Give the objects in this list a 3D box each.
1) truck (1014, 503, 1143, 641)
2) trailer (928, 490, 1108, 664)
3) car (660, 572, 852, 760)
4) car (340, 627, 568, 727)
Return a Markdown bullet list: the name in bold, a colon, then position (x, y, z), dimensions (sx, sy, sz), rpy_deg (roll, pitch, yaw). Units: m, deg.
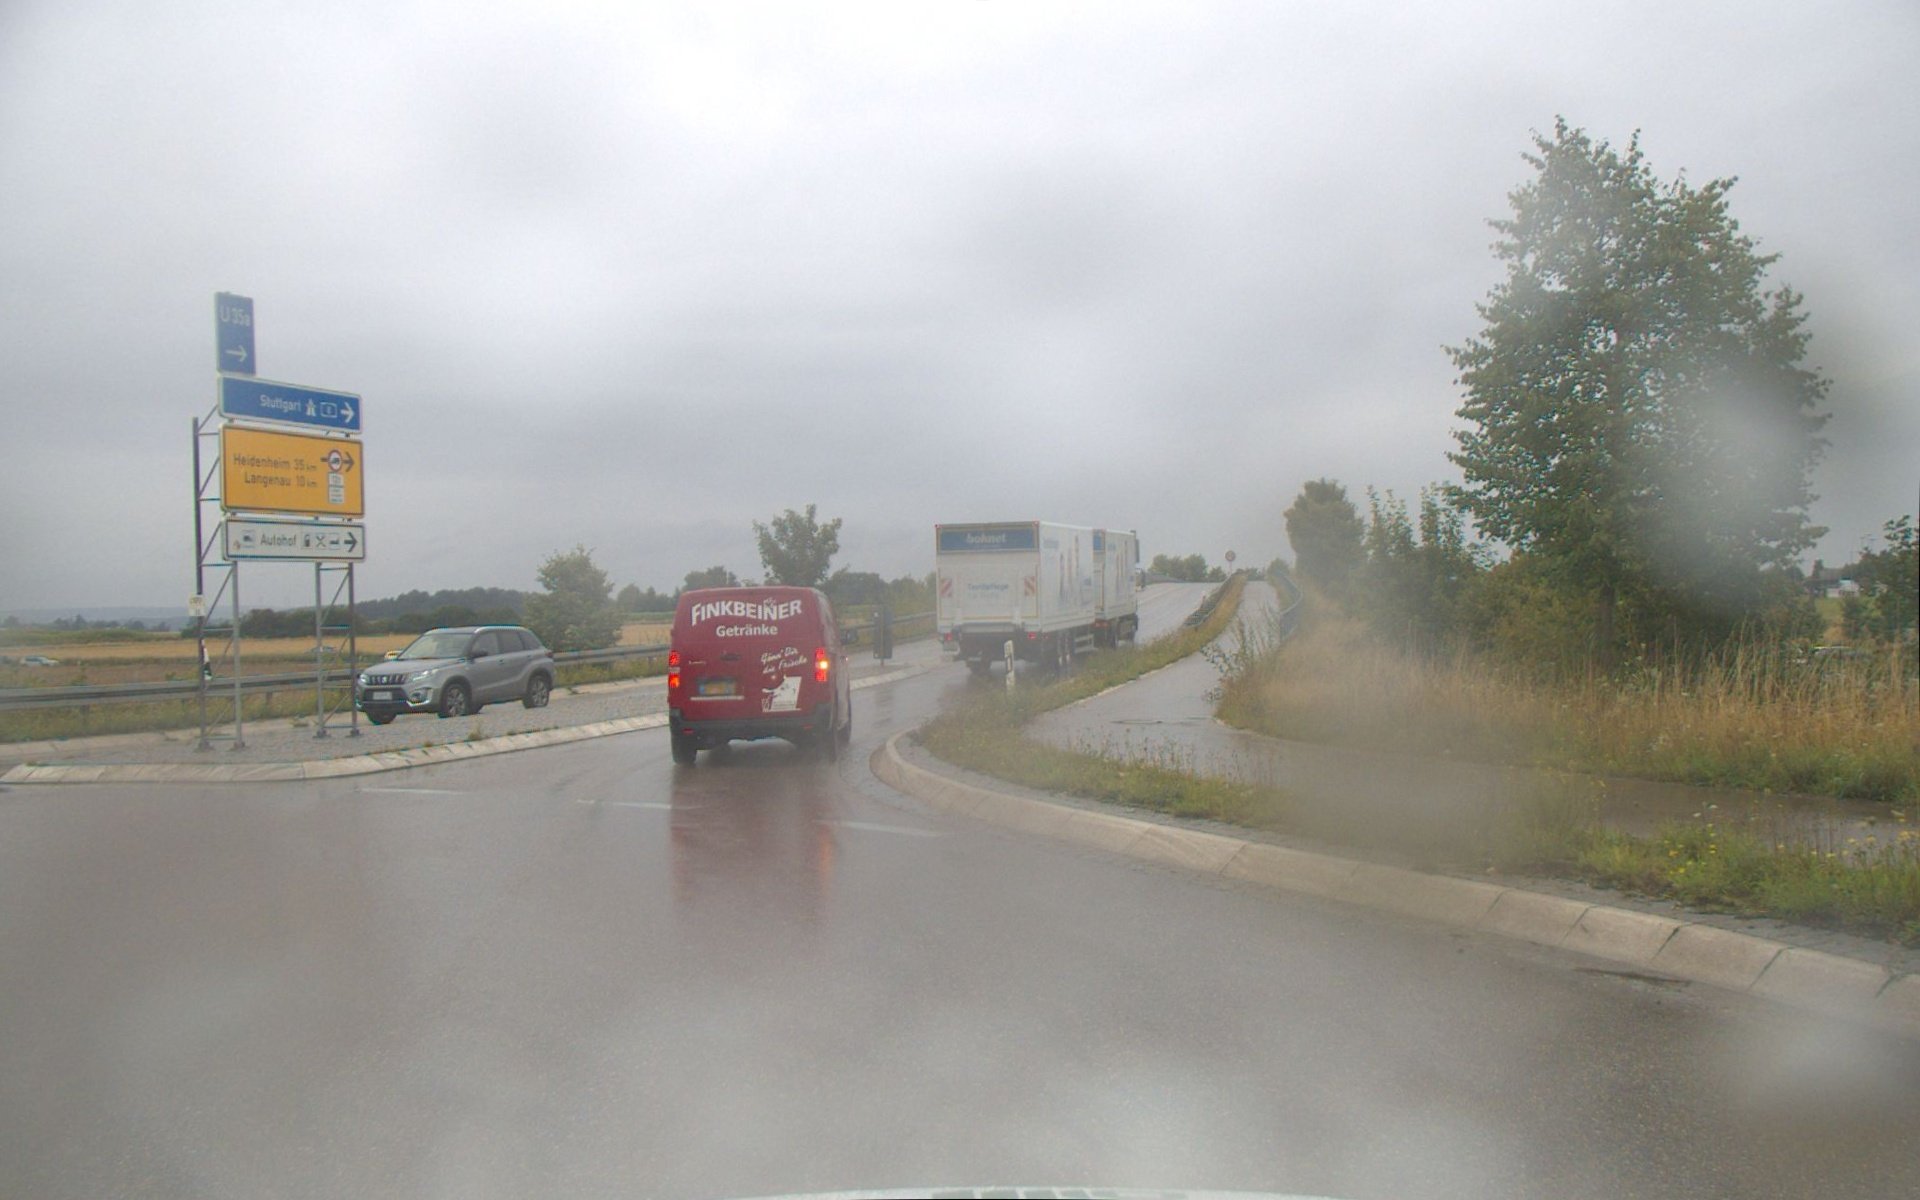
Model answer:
- **truck**: position (3.790, -0.851, 51.141), dimensions (2.740, 3.885, 7.696), rpy_deg (-2, 0, 13)
- **trailer**: position (1.738, -0.588, 42.715), dimensions (2.771, 3.885, 9.724), rpy_deg (-2, 0, 13)
- **car**: position (-2.453, 0.668, 20.057), dimensions (1.956, 1.903, 4.971), rpy_deg (-2, 1, -7)
- **car**: position (-9.053, 1.336, 29.895), dimensions (1.764, 1.602, 3.998), rpy_deg (-1, 0, 24)
